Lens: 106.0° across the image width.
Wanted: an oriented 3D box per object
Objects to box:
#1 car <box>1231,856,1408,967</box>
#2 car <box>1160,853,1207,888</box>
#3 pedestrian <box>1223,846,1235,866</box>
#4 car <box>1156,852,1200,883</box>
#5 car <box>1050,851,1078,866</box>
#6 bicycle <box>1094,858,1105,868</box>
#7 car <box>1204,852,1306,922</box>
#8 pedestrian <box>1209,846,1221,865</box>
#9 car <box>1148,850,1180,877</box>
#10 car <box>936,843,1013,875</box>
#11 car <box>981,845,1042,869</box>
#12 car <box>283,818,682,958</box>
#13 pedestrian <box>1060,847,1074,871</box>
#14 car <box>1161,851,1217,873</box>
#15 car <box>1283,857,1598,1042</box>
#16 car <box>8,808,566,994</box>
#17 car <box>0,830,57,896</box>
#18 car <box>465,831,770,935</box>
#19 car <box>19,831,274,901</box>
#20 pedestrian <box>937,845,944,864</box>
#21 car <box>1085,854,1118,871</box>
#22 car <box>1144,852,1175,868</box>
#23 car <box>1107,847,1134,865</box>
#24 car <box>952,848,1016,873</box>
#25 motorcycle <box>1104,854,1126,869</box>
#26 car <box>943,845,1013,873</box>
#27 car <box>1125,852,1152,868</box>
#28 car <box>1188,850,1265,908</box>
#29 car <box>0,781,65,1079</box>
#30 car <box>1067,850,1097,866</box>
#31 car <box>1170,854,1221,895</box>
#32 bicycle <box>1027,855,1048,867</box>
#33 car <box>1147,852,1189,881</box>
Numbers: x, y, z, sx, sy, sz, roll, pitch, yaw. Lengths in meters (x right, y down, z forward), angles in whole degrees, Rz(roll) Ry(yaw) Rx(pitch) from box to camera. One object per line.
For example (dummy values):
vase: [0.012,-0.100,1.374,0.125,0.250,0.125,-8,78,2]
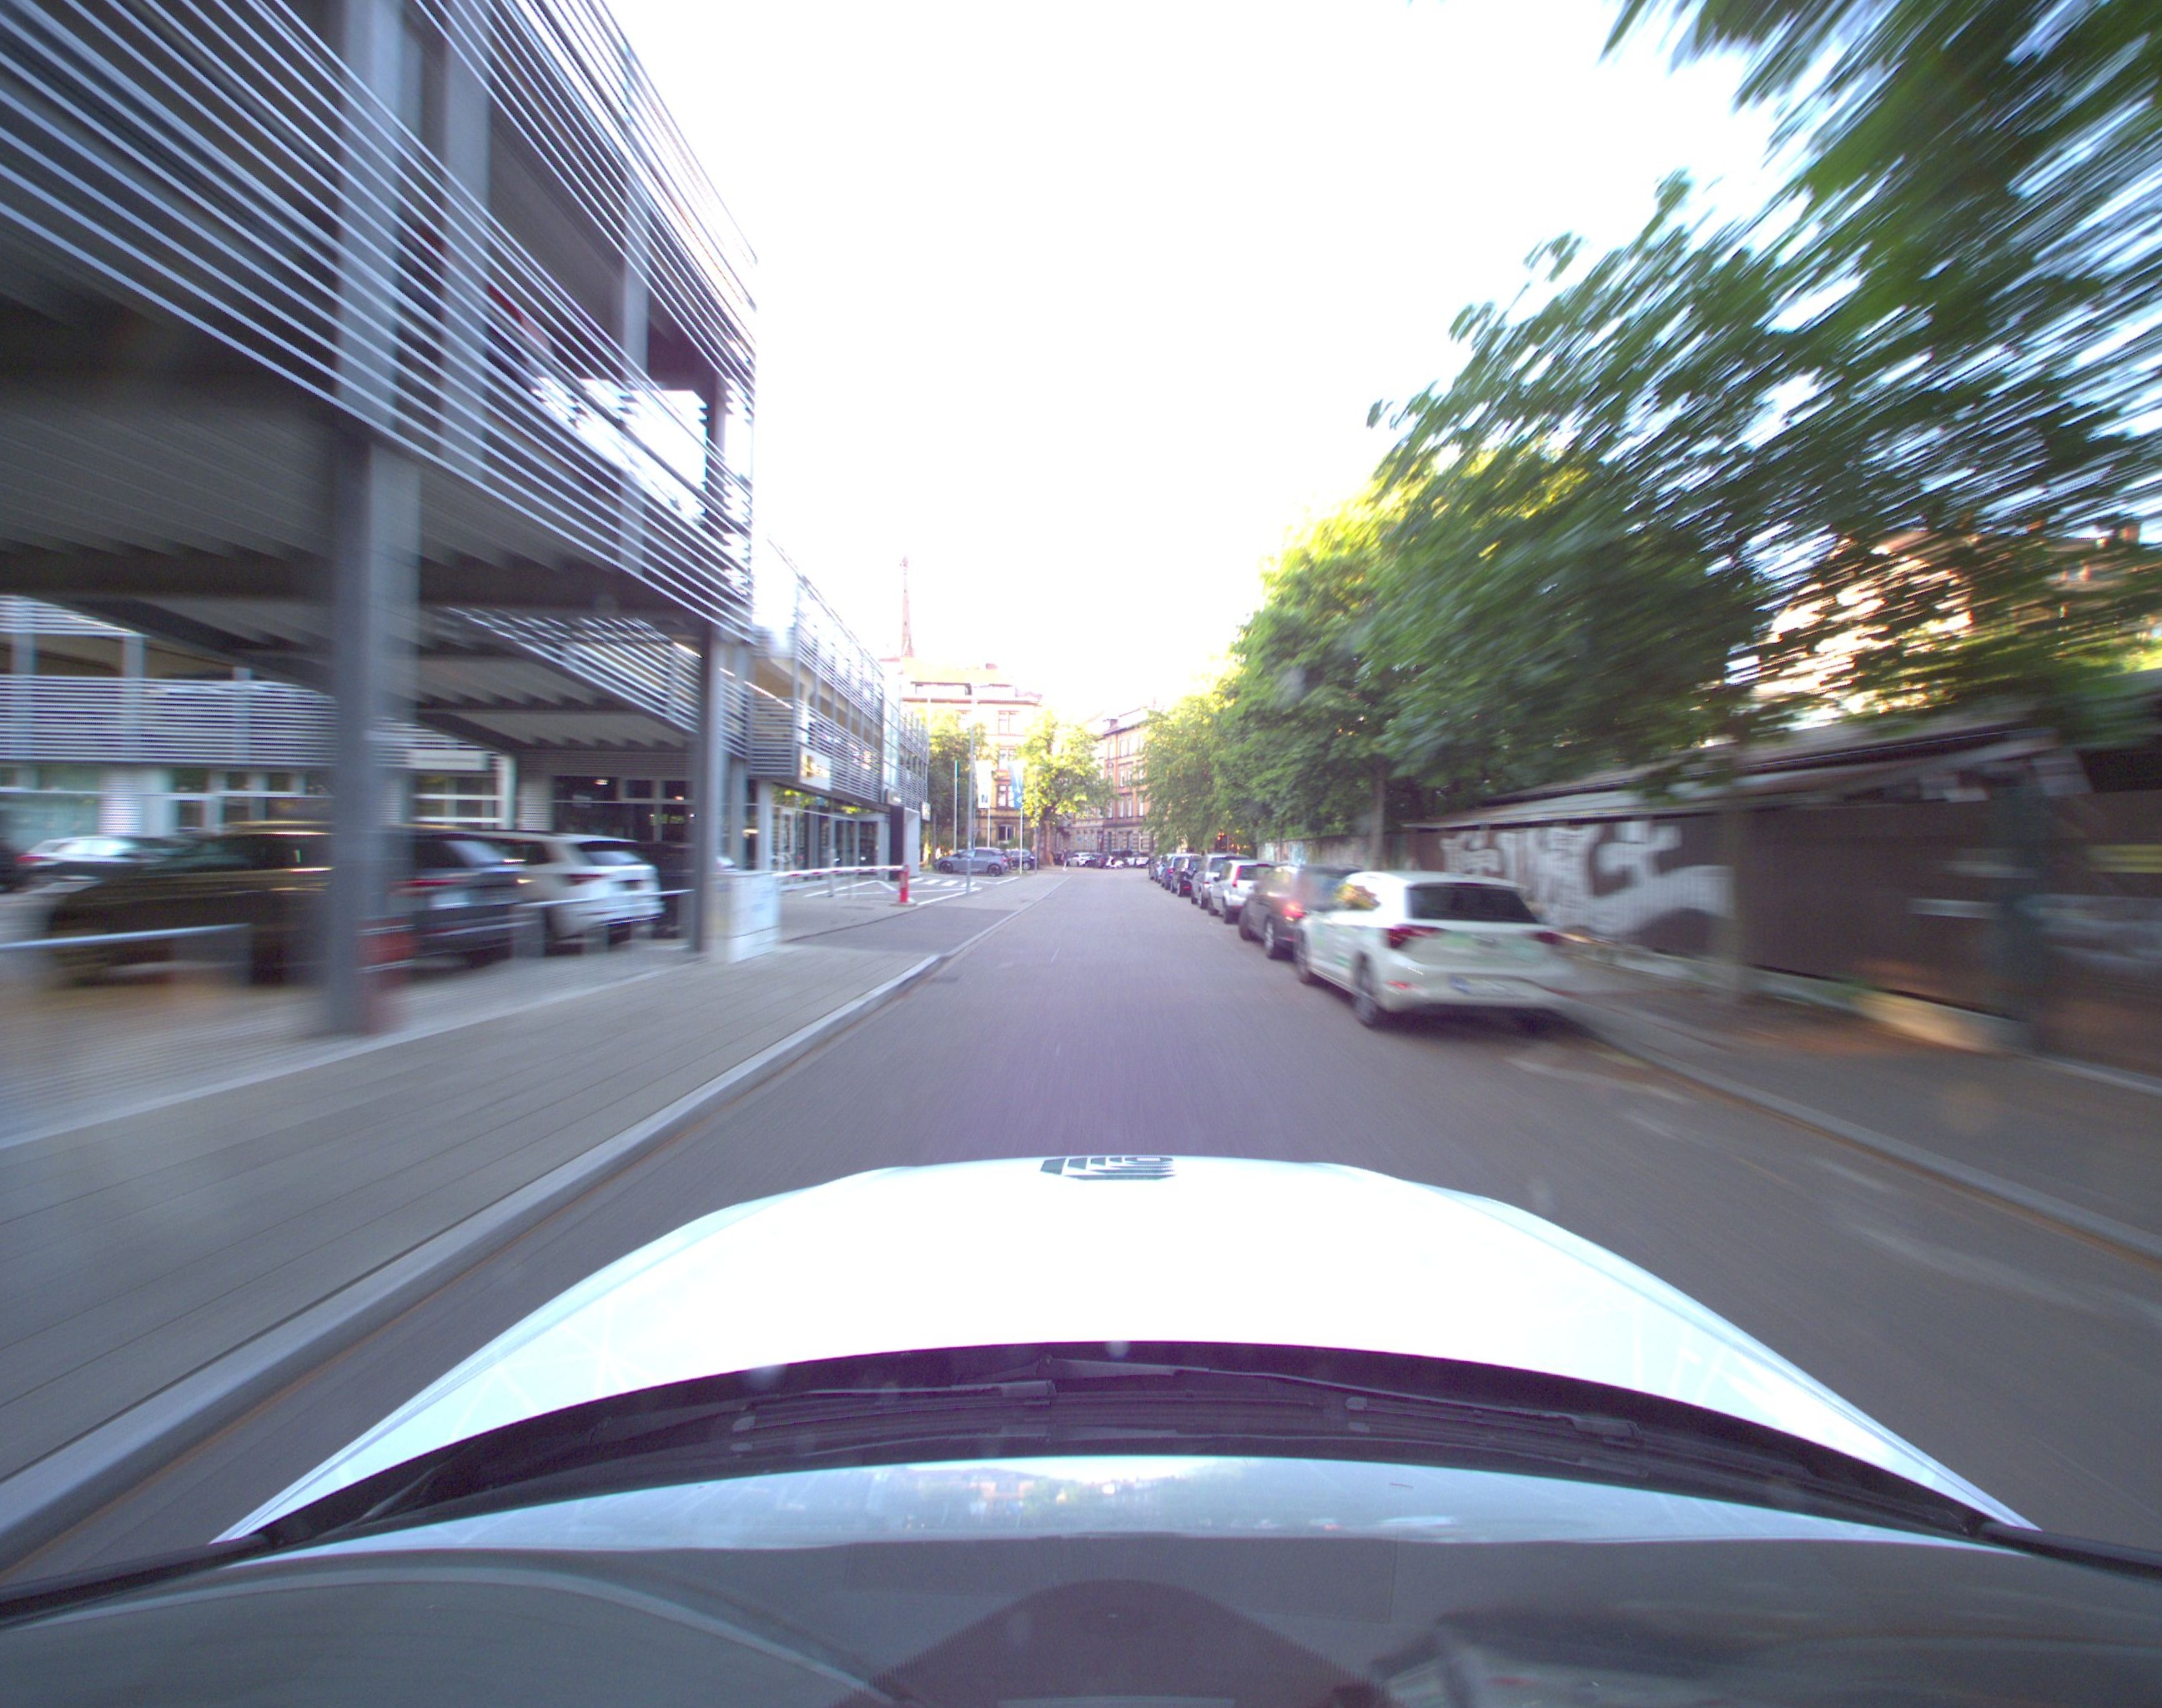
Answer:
car: [3.681,0.794,13.387,1.752,1.454,4.394,1,0,2]
car: [4.514,0.689,36.302,1.688,1.477,4.119,1,0,2]
pedestrian: [13.526,0.187,74.490,0.774,1.804,0.839,0,1,-13]
car: [4.867,0.664,41.227,1.690,1.477,3.557,1,0,-2]
car: [-1.818,0.483,86.320,1.661,1.431,3.868,1,1,-22]
bicycle: [1.649,0.787,71.932,0.421,0.822,1.470,1,1,24]
car: [4.085,0.712,19.680,1.752,1.441,3.876,1,1,2]
pedestrian: [12.625,0.134,76.619,0.843,1.804,0.771,0,1,-19]
car: [5.135,0.569,50.669,1.689,1.571,3.972,1,0,1]
car: [-6.117,0.294,47.251,4.116,1.617,1.913,3,1,0]
car: [-5.609,0.241,66.158,4.820,1.732,1.918,1,1,-5]
car: [-7.917,0.401,11.060,4.063,1.683,1.862,1,1,2]
pedestrian: [-1.113,0.370,63.923,0.737,1.804,1.115,0,1,-18]
car: [7.643,0.565,57.422,3.994,1.466,1.859,0,1,-45]
car: [3.509,0.810,8.839,1.752,1.442,4.008,1,1,2]
car: [-8.003,0.411,8.508,4.070,1.683,1.862,1,1,2]
car: [-27.165,0.167,19.155,3.819,1.472,1.687,2,3,-3]
car: [-7.608,0.469,13.683,3.974,1.586,1.859,1,-1,0]
car: [-22.144,0.251,19.438,3.819,1.472,1.786,1,3,-3]
pedestrian: [-11.830,0.051,68.532,0.541,1.634,0.448,1,1,-3]
car: [1.908,0.753,77.349,1.661,1.431,3.962,1,1,-22]
car: [7.589,0.561,78.738,1.681,1.525,3.220,0,1,-22]
car: [4.157,0.216,85.822,1.681,1.782,2.993,1,1,-22]
car: [-6.463,0.413,54.692,4.035,1.475,1.919,2,1,-2]
motorcycle: [3.076,0.653,74.012,1.931,1.340,0.575,0,1,-9]
car: [-6.346,0.287,50.365,4.054,1.618,1.765,1,1,0]
car: [5.801,0.606,82.245,1.681,1.525,2.747,1,1,-22]
car: [4.318,0.681,24.687,1.752,1.604,3.875,1,0,2]
car: [-8.165,0.419,4.026,4.047,1.683,1.862,1,1,2]
car: [0.091,0.358,81.842,1.660,1.431,4.139,1,1,-20]
car: [4.404,0.758,31.710,1.590,1.477,3.775,1,0,2]
bicycle: [-3.686,0.605,68.745,1.678,1.028,0.442,0,1,-22]
car: [4.822,0.667,45.639,1.691,1.477,4.208,1,0,-3]
